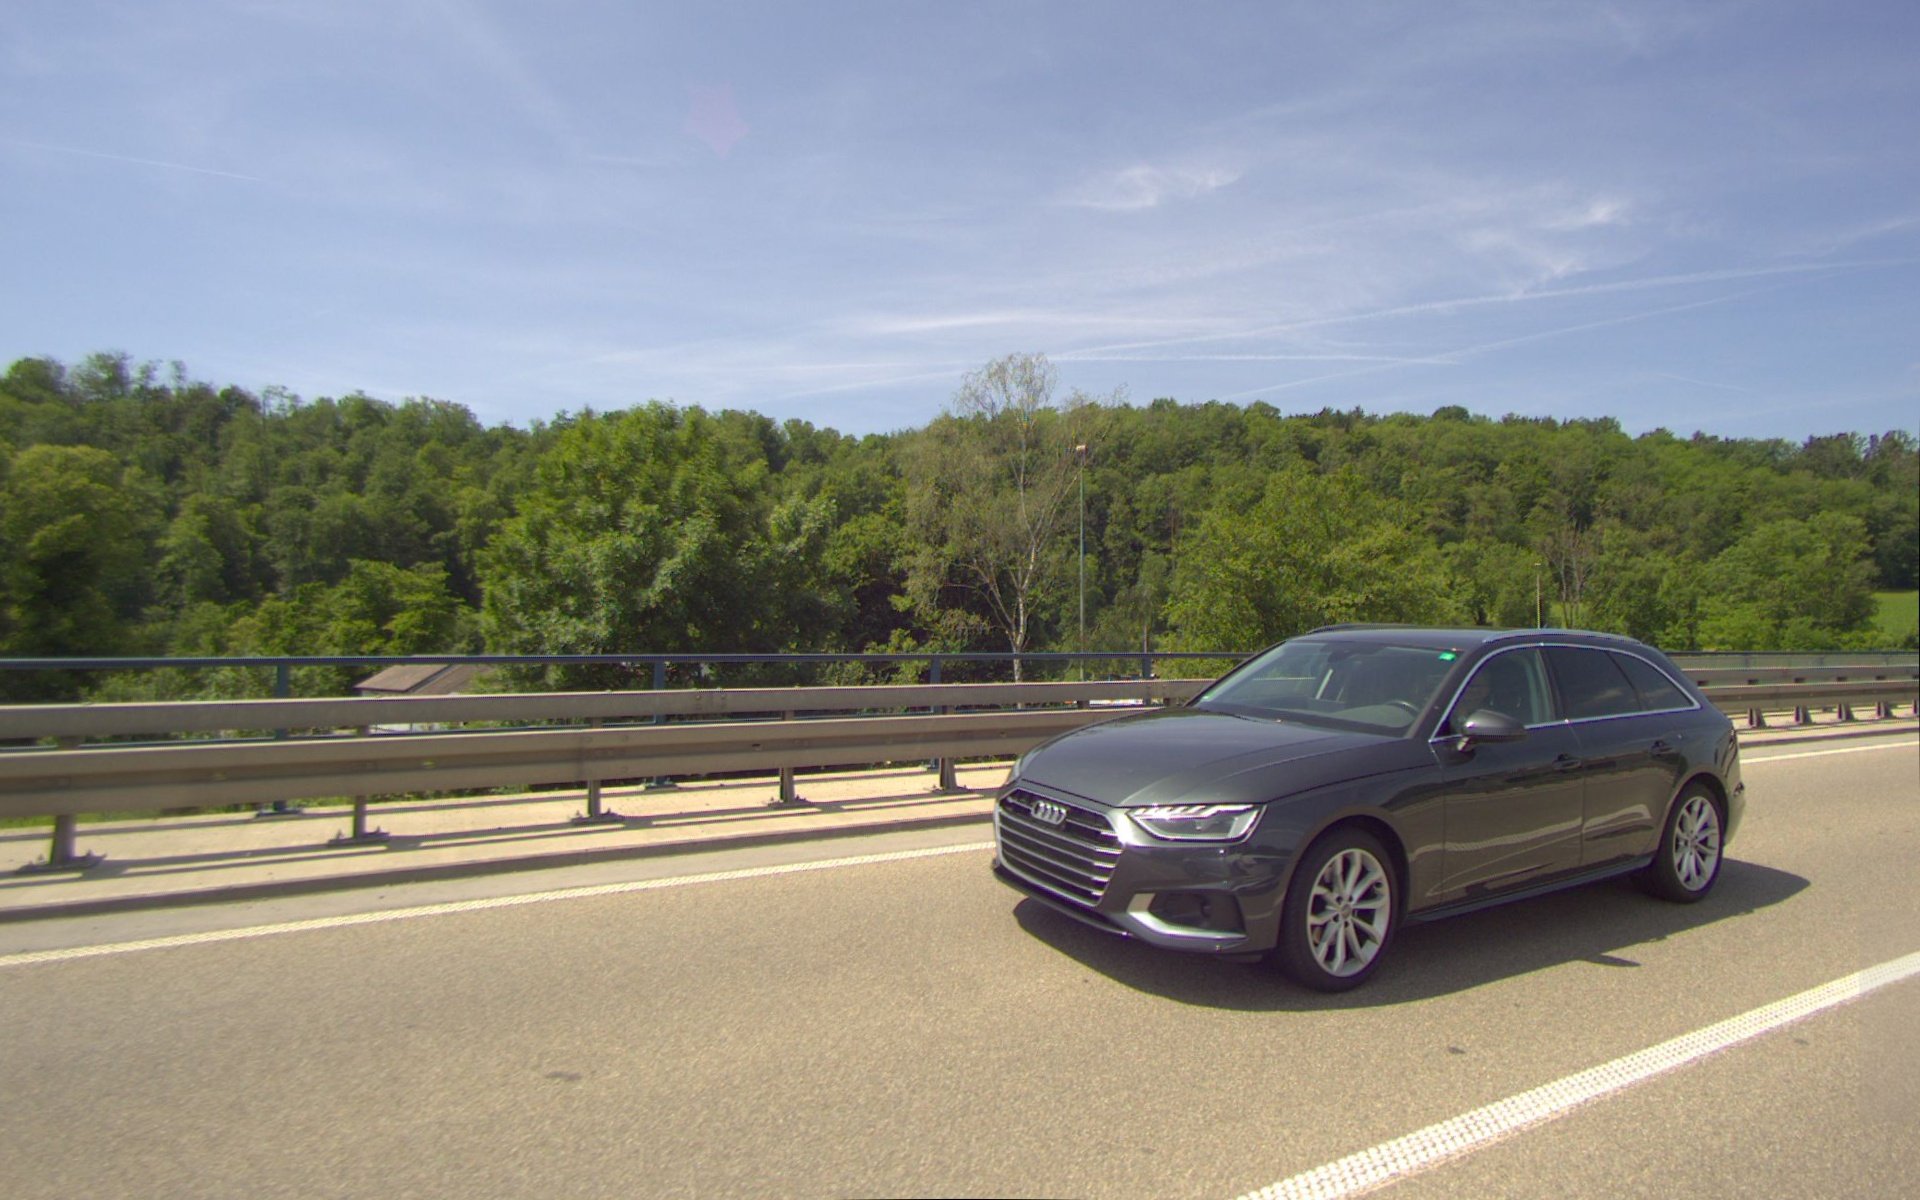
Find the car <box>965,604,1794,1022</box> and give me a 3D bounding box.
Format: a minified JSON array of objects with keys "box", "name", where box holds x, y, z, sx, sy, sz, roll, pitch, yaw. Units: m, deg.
[{"box":[2.427,0.798,5.417,4.562,1.454,1.713,1,0,-30],"name":"car"}]
